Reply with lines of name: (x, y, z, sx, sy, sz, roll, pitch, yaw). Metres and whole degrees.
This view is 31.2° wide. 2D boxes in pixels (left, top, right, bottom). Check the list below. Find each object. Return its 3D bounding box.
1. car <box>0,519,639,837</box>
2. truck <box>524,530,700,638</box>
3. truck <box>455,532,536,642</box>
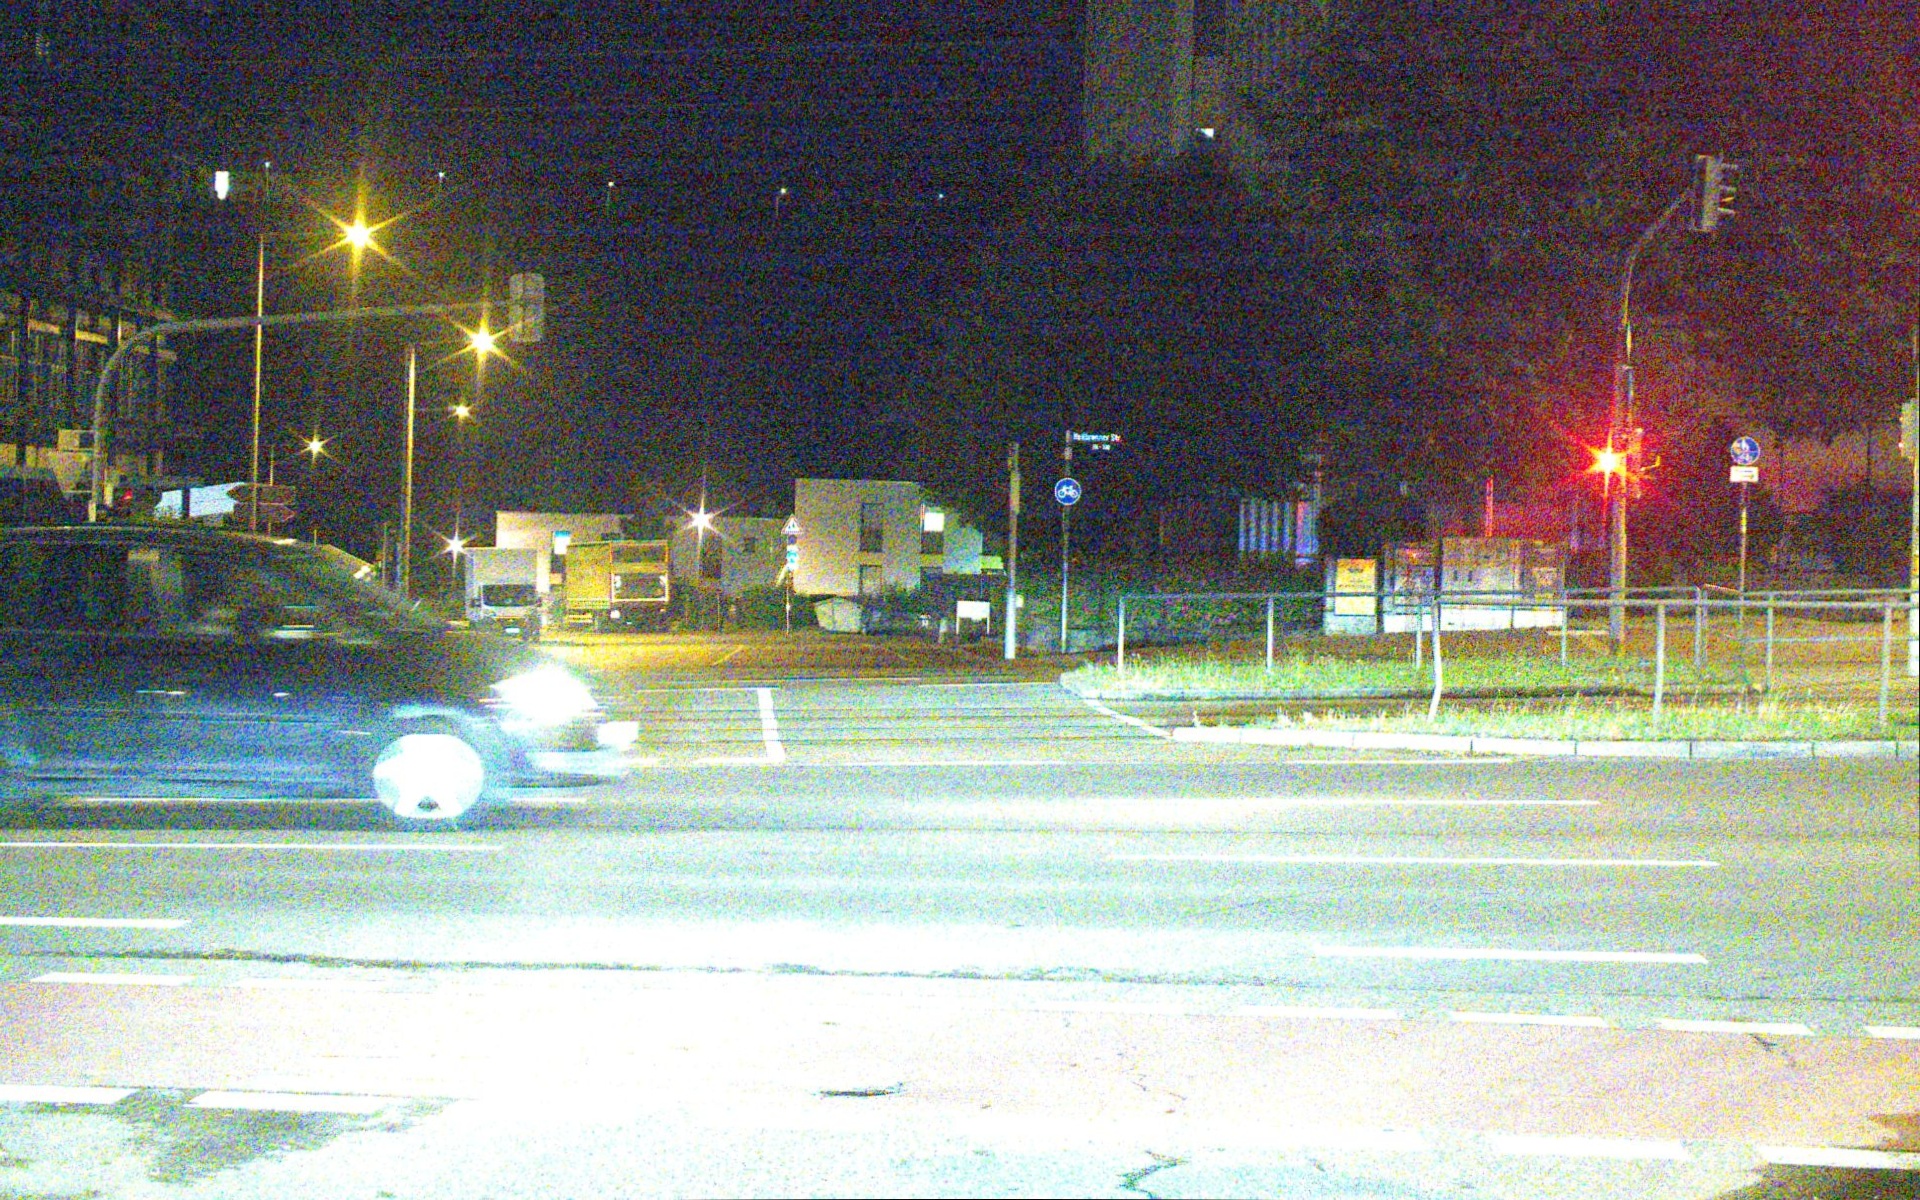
car: (-4.060, 0.387, 18.981, 4.343, 1.645, 1.810, 0, 1, 3)
truck: (-15.453, -0.760, 151.237, 4.821, 4.531, 12.669, 1, 1, -19)
truck: (-16.117, -0.470, 119.037, 2.582, 3.694, 5.739, 1, 1, -9)
